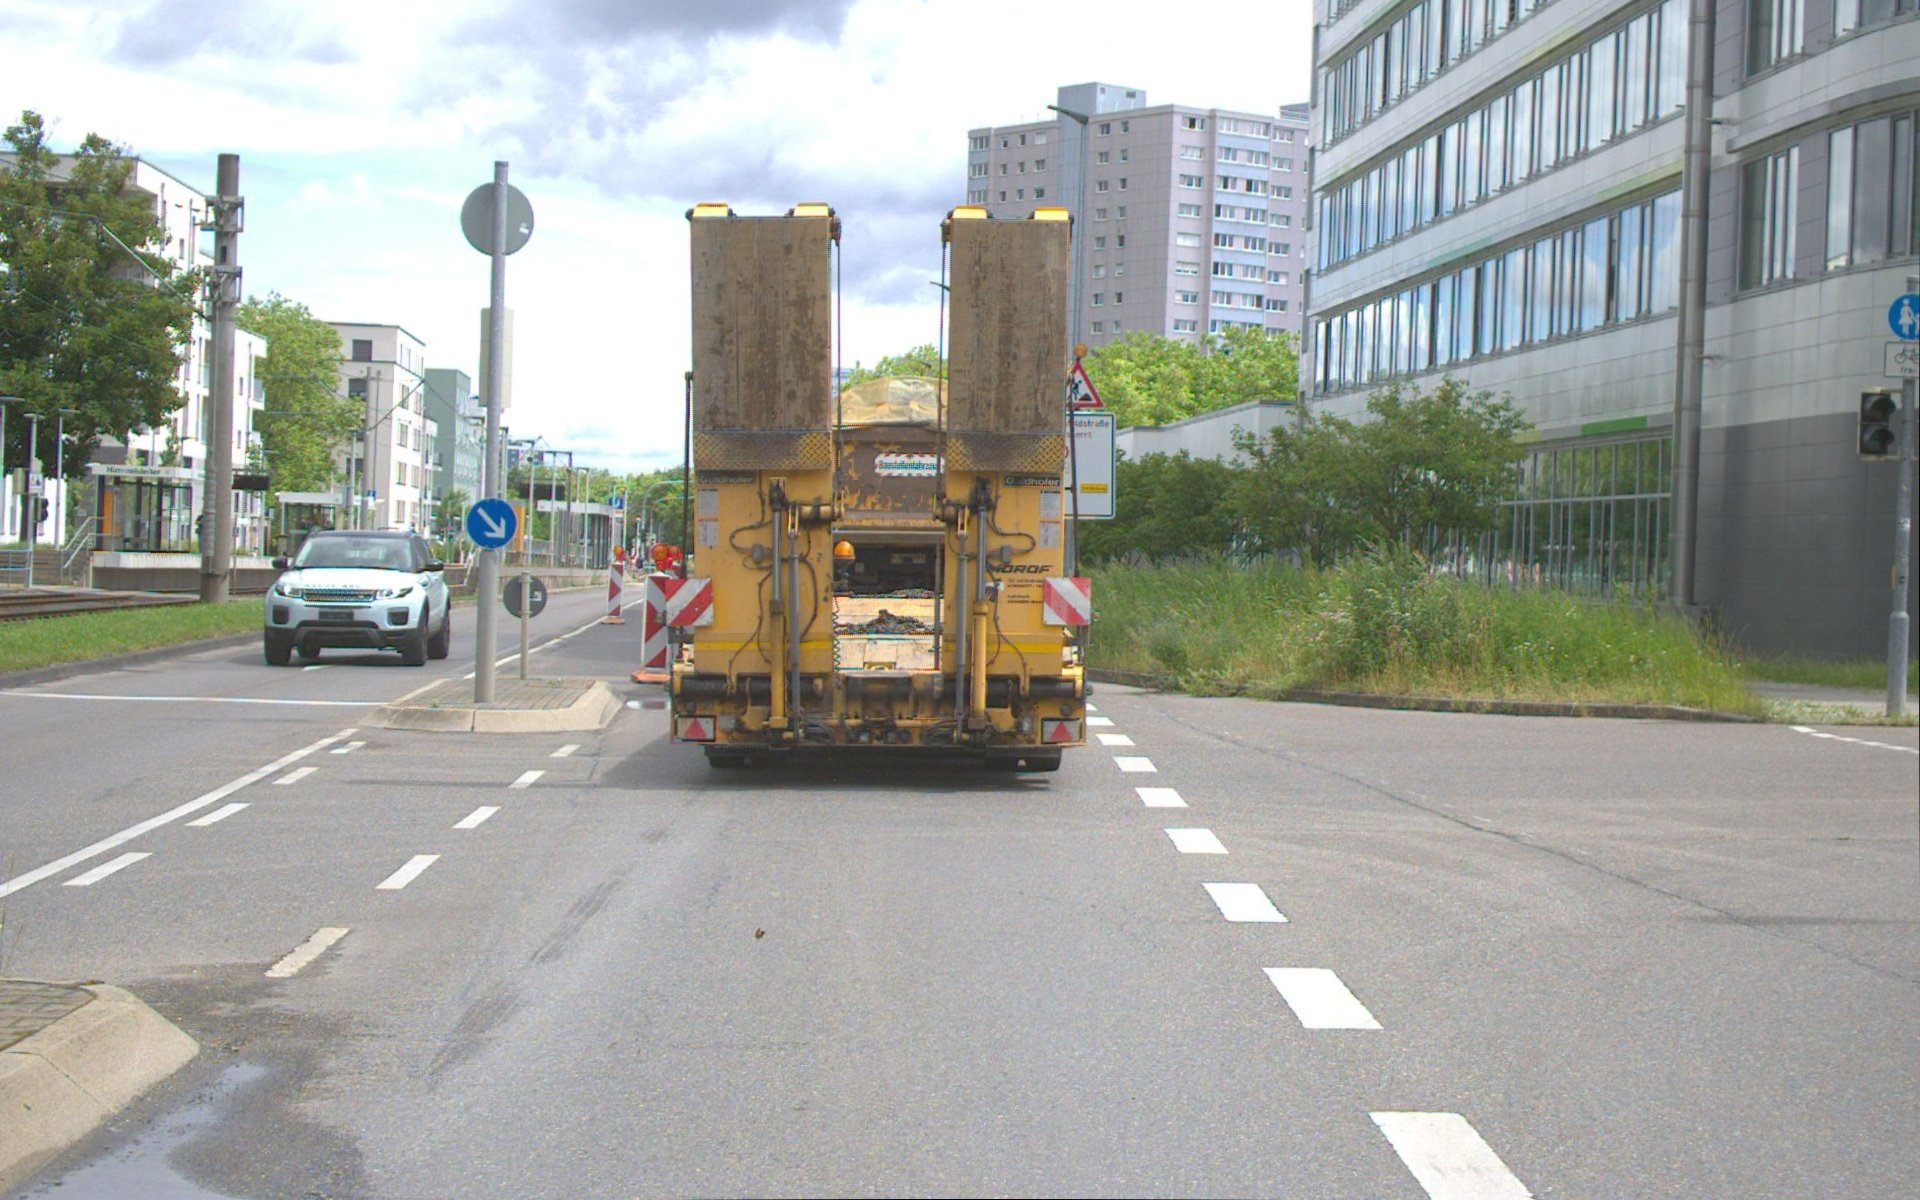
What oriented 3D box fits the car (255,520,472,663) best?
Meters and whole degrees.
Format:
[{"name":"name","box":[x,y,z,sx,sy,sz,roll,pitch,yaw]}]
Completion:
[{"name":"car","box":[-7.285,-0.111,42.405,1.860,1.605,4.608,2,0,-1]}]

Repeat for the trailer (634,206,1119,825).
[{"name":"trailer","box":[-0.812,-0.537,25.887,2.729,3.547,11.255,2,0,-3]}]

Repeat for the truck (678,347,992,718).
[{"name":"truck","box":[-1.346,-0.646,35.686,2.753,3.302,8.352,2,0,-3]}]

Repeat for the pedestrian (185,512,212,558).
[{"name":"pedestrian","box":[-25.850,-2.202,116.737,0.741,1.526,0.547,2,0,1]}]
